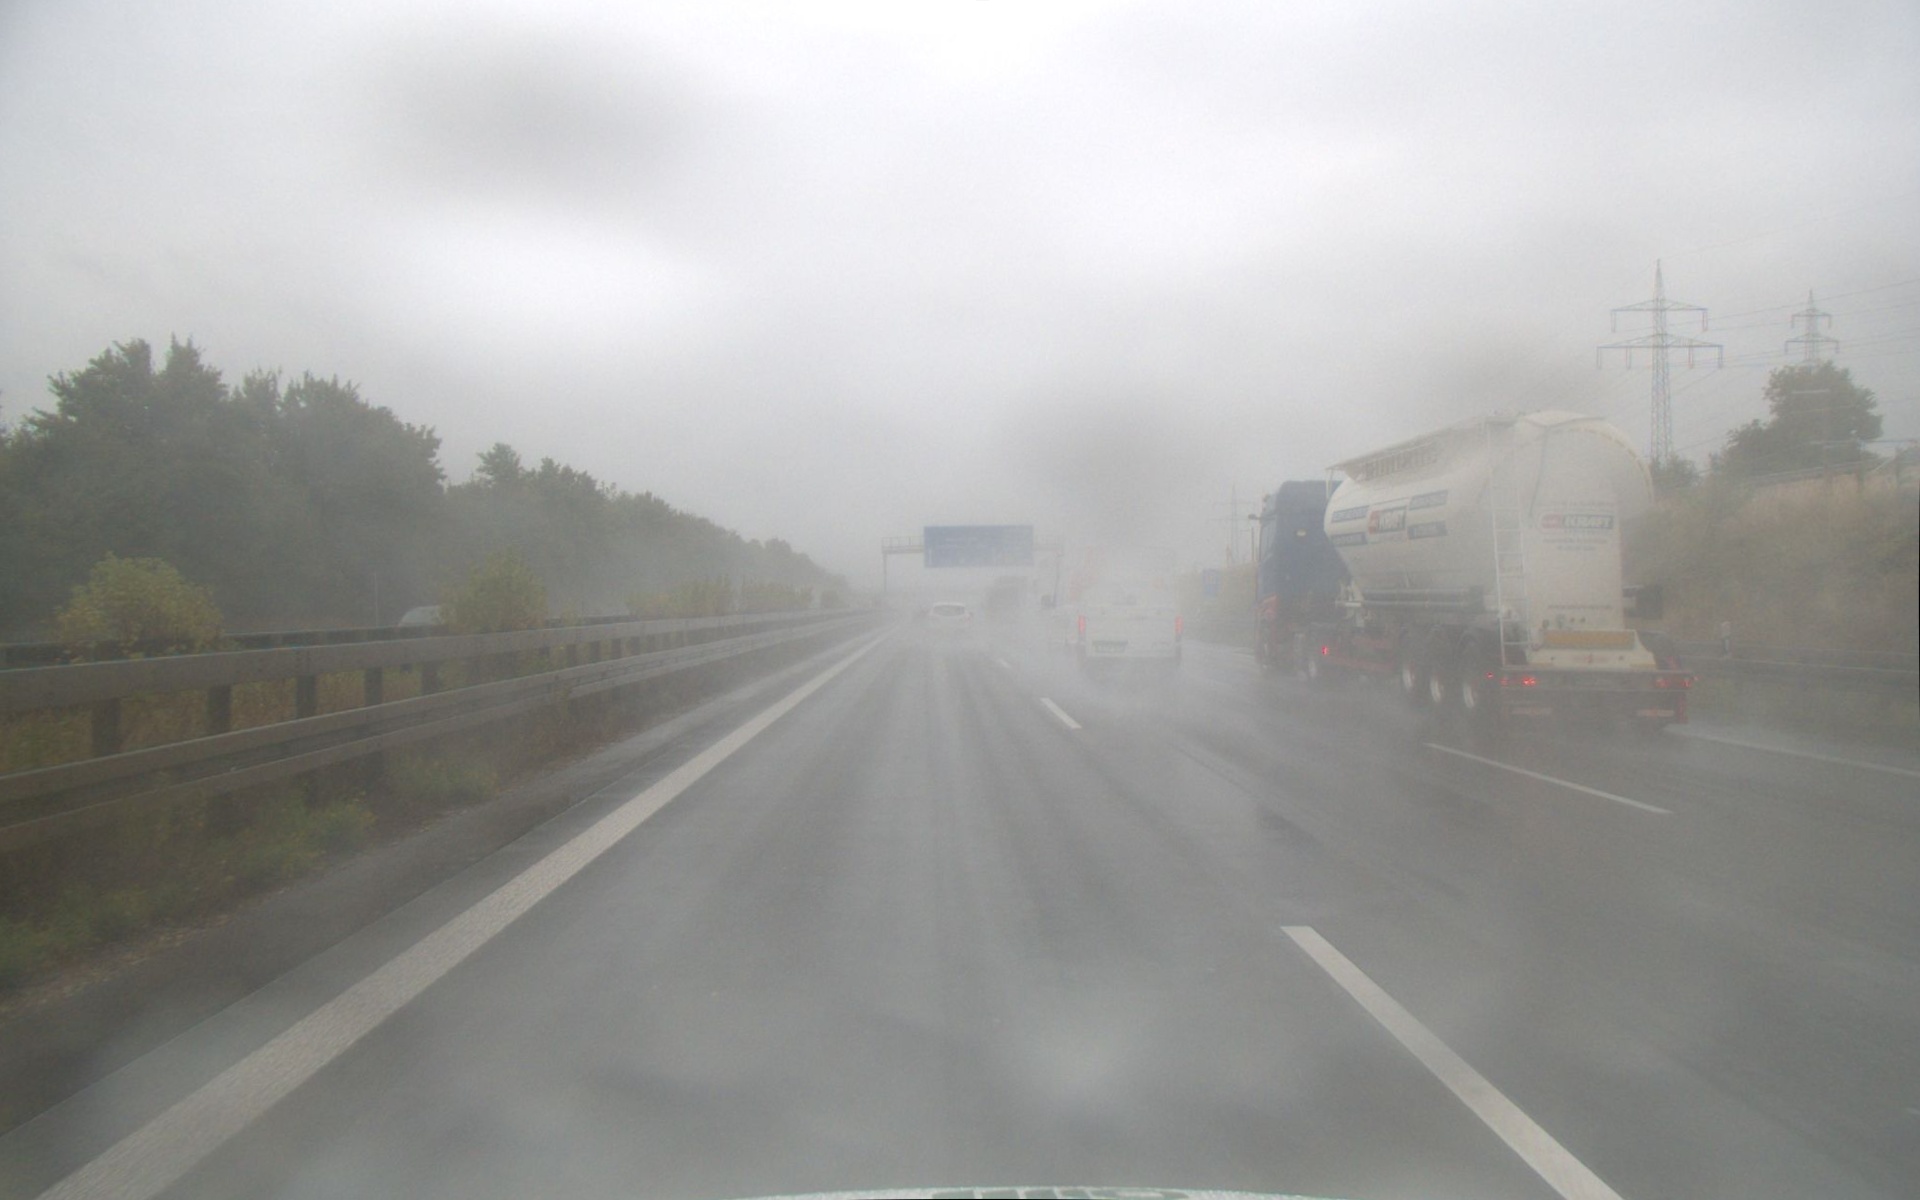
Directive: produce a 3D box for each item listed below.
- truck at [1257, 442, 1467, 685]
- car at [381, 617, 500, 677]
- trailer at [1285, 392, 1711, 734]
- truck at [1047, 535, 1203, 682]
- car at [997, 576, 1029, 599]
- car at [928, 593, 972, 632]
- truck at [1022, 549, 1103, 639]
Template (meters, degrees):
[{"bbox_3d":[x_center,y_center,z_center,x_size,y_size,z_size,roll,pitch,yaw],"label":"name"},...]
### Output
[{"bbox_3d":[7.240,-0.628,30.420,2.446,4.053,5.074,1,0,-2],"label":"truck"},{"bbox_3d":[-15.264,1.353,48.919,1.888,1.539,5.432,1,0,-1],"label":"car"},{"bbox_3d":[7.380,-0.476,24.855,2.447,3.950,11.063,1,0,-2],"label":"trailer"},{"bbox_3d":[3.044,0.131,31.861,2.370,2.536,5.559,1,0,-1],"label":"truck"},{"bbox_3d":[4.930,-1.136,154.346,2.732,2.049,4.992,1,0,-1],"label":"car"},{"bbox_3d":[-0.400,0.454,61.699,1.573,1.361,3.847,1,0,-1],"label":"car"},{"bbox_3d":[5.650,-0.240,94.309,2.978,4.668,16.343,1,-1,-2],"label":"truck"}]
